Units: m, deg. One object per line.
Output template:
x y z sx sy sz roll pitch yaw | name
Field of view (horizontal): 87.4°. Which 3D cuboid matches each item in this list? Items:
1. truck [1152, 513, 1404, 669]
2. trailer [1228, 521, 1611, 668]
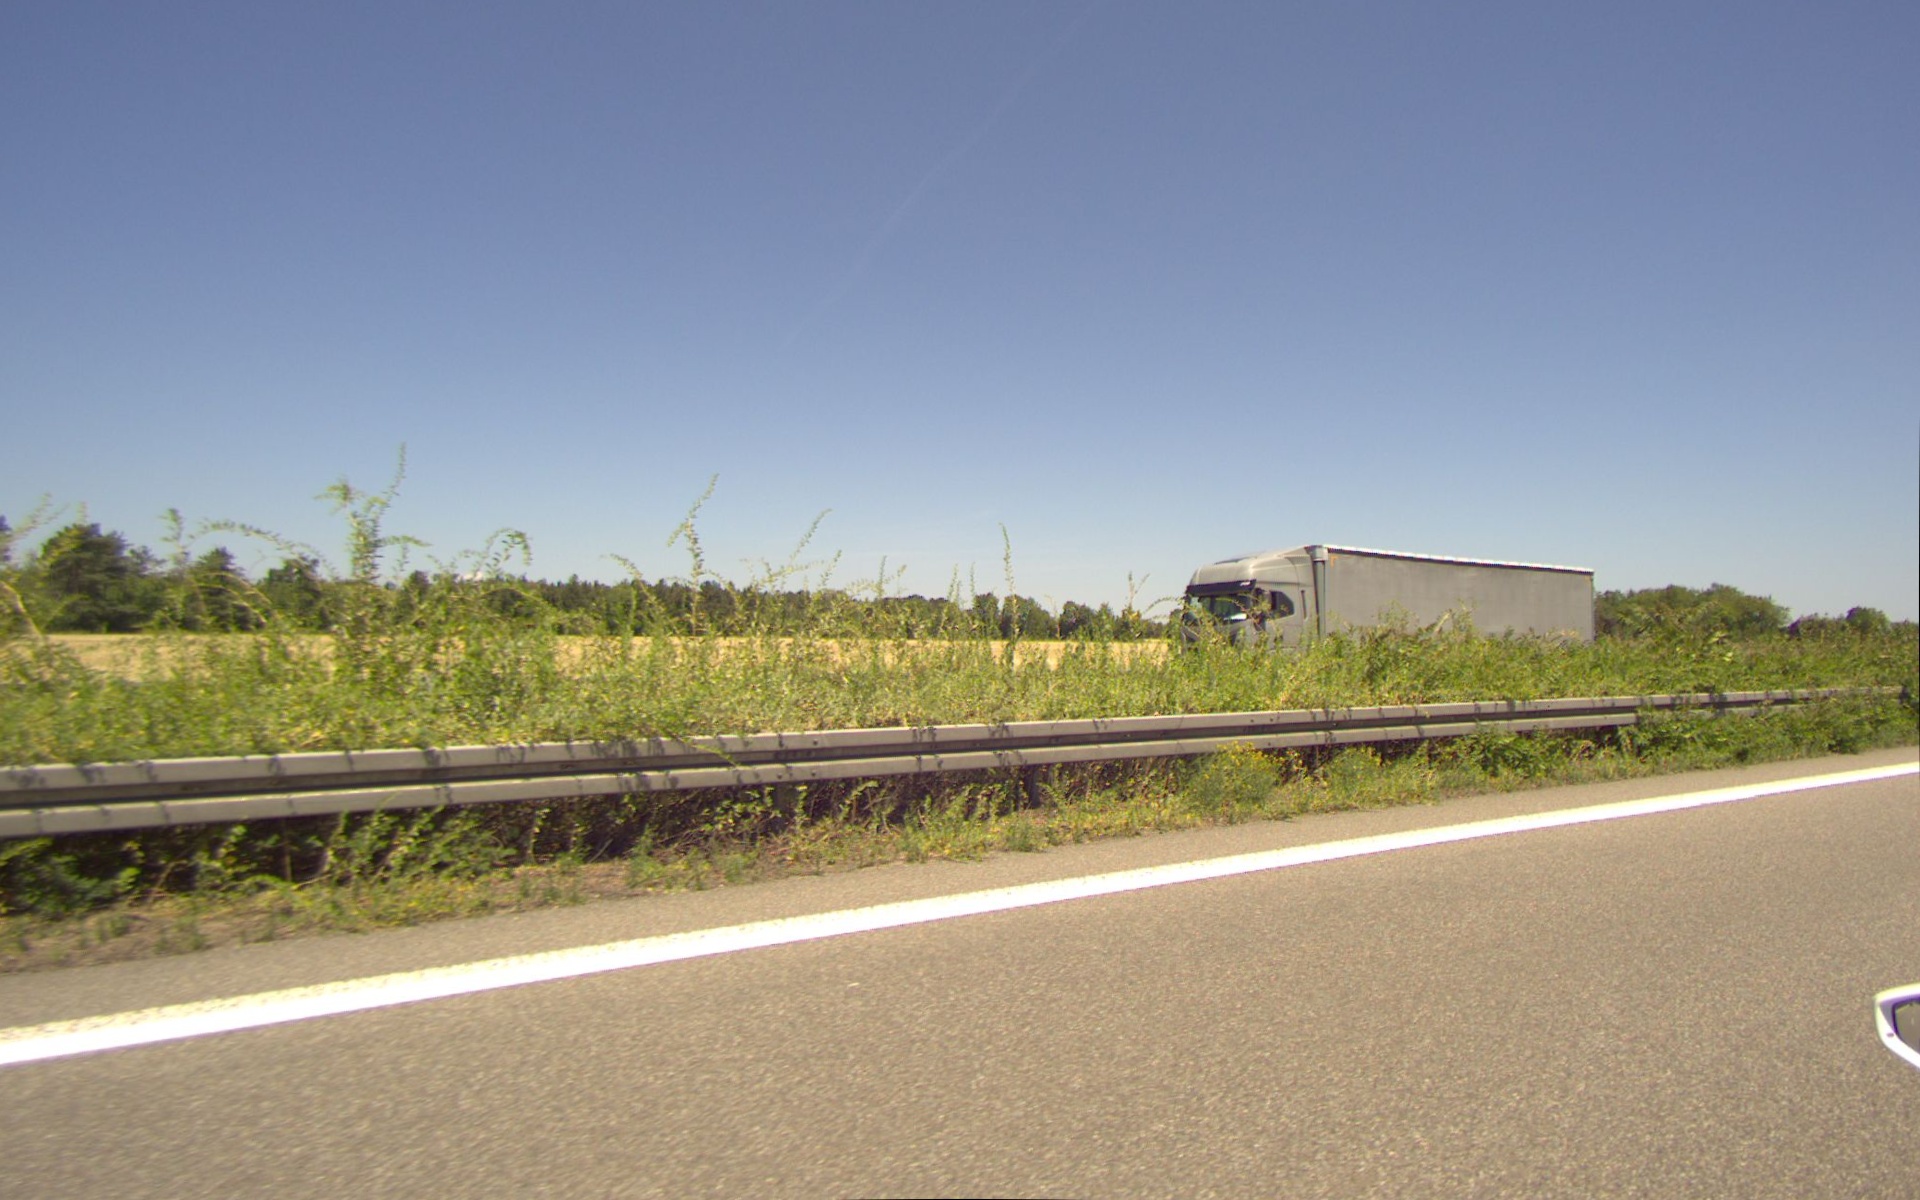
8.602 -0.162 27.073 5.997 3.748 3.331 2 0 -32 | truck
14.525 0.005 30.779 14.222 3.748 3.331 2 0 -32 | trailer
